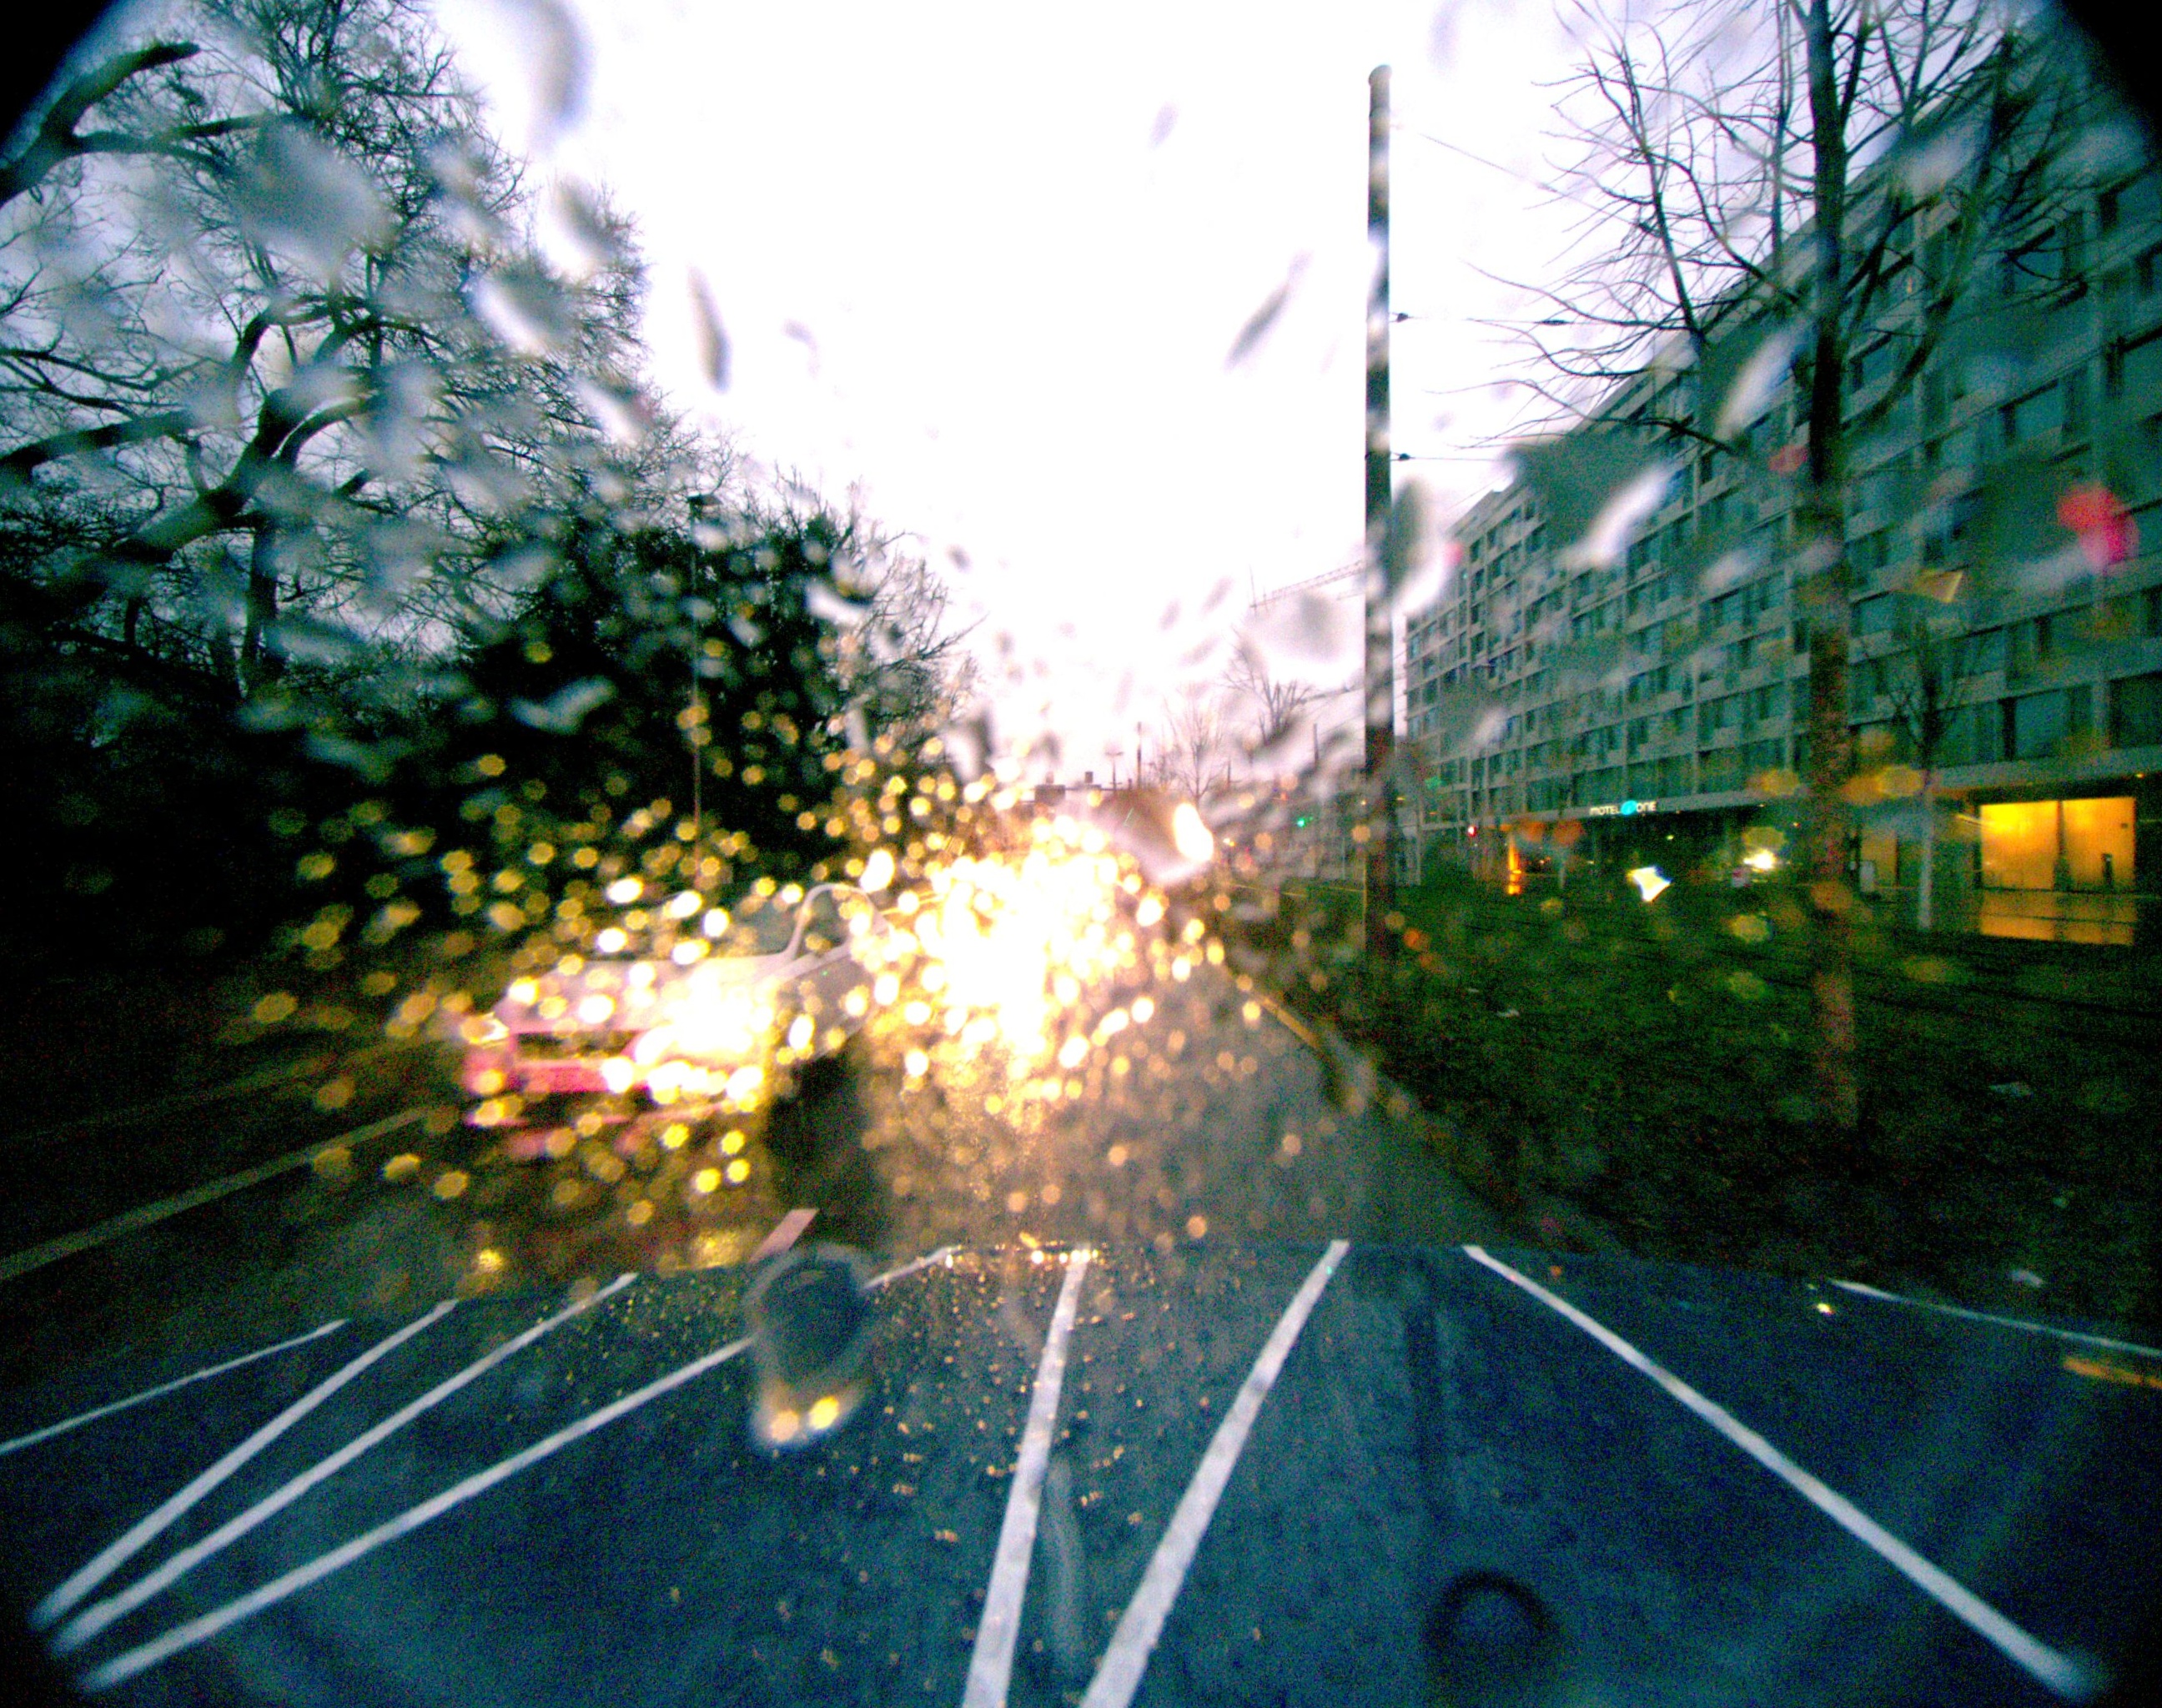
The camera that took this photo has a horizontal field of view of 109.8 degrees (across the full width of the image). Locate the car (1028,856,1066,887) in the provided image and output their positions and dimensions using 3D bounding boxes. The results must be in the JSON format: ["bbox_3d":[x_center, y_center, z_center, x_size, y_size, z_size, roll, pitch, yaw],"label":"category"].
[{"bbox_3d":[-1.998,1.019,45.853,1.998,1.618,4.268,-2,0,1],"label":"car"}]

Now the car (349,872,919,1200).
[{"bbox_3d":[-2.682,0.963,5.888,1.886,1.552,4.171,0,0,1],"label":"car"}]

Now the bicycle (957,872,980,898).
[{"bbox_3d":[-5.004,1.382,33.808,0.691,1.036,1.721,-2,1,1],"label":"bicycle"}]

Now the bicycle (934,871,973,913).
[{"bbox_3d":[-5.092,1.488,30.627,0.968,1.442,3.389,-2,1,0],"label":"bicycle"}]

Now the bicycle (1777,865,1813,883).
[{"bbox_3d":[36.310,1.020,38.640,1.349,0.849,0.465,-2,1,-1],"label":"bicycle"}]

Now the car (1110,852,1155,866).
[{"bbox_3d":[6.101,0.610,89.891,5.042,1.659,2.087,0,0,-7],"label":"car"}]

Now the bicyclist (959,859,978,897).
[{"bbox_3d":[-5.021,1.061,33.849,0.691,1.675,0.593,-2,1,1],"label":"bicyclist"}]

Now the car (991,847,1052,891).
[{"bbox_3d":[-2.389,0.556,31.591,2.073,1.618,4.268,-2,0,1],"label":"car"}]

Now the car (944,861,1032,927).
[{"bbox_3d":[-2.597,1.085,22.318,2.073,1.618,4.267,-2,0,-1],"label":"car"}]

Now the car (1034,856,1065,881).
[{"bbox_3d":[-2.286,1.005,54.696,1.999,1.618,4.266,-1,0,-5],"label":"car"}]

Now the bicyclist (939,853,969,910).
[{"bbox_3d":[-5.123,1.106,30.738,0.968,2.210,0.935,-2,1,-1],"label":"bicyclist"}]
